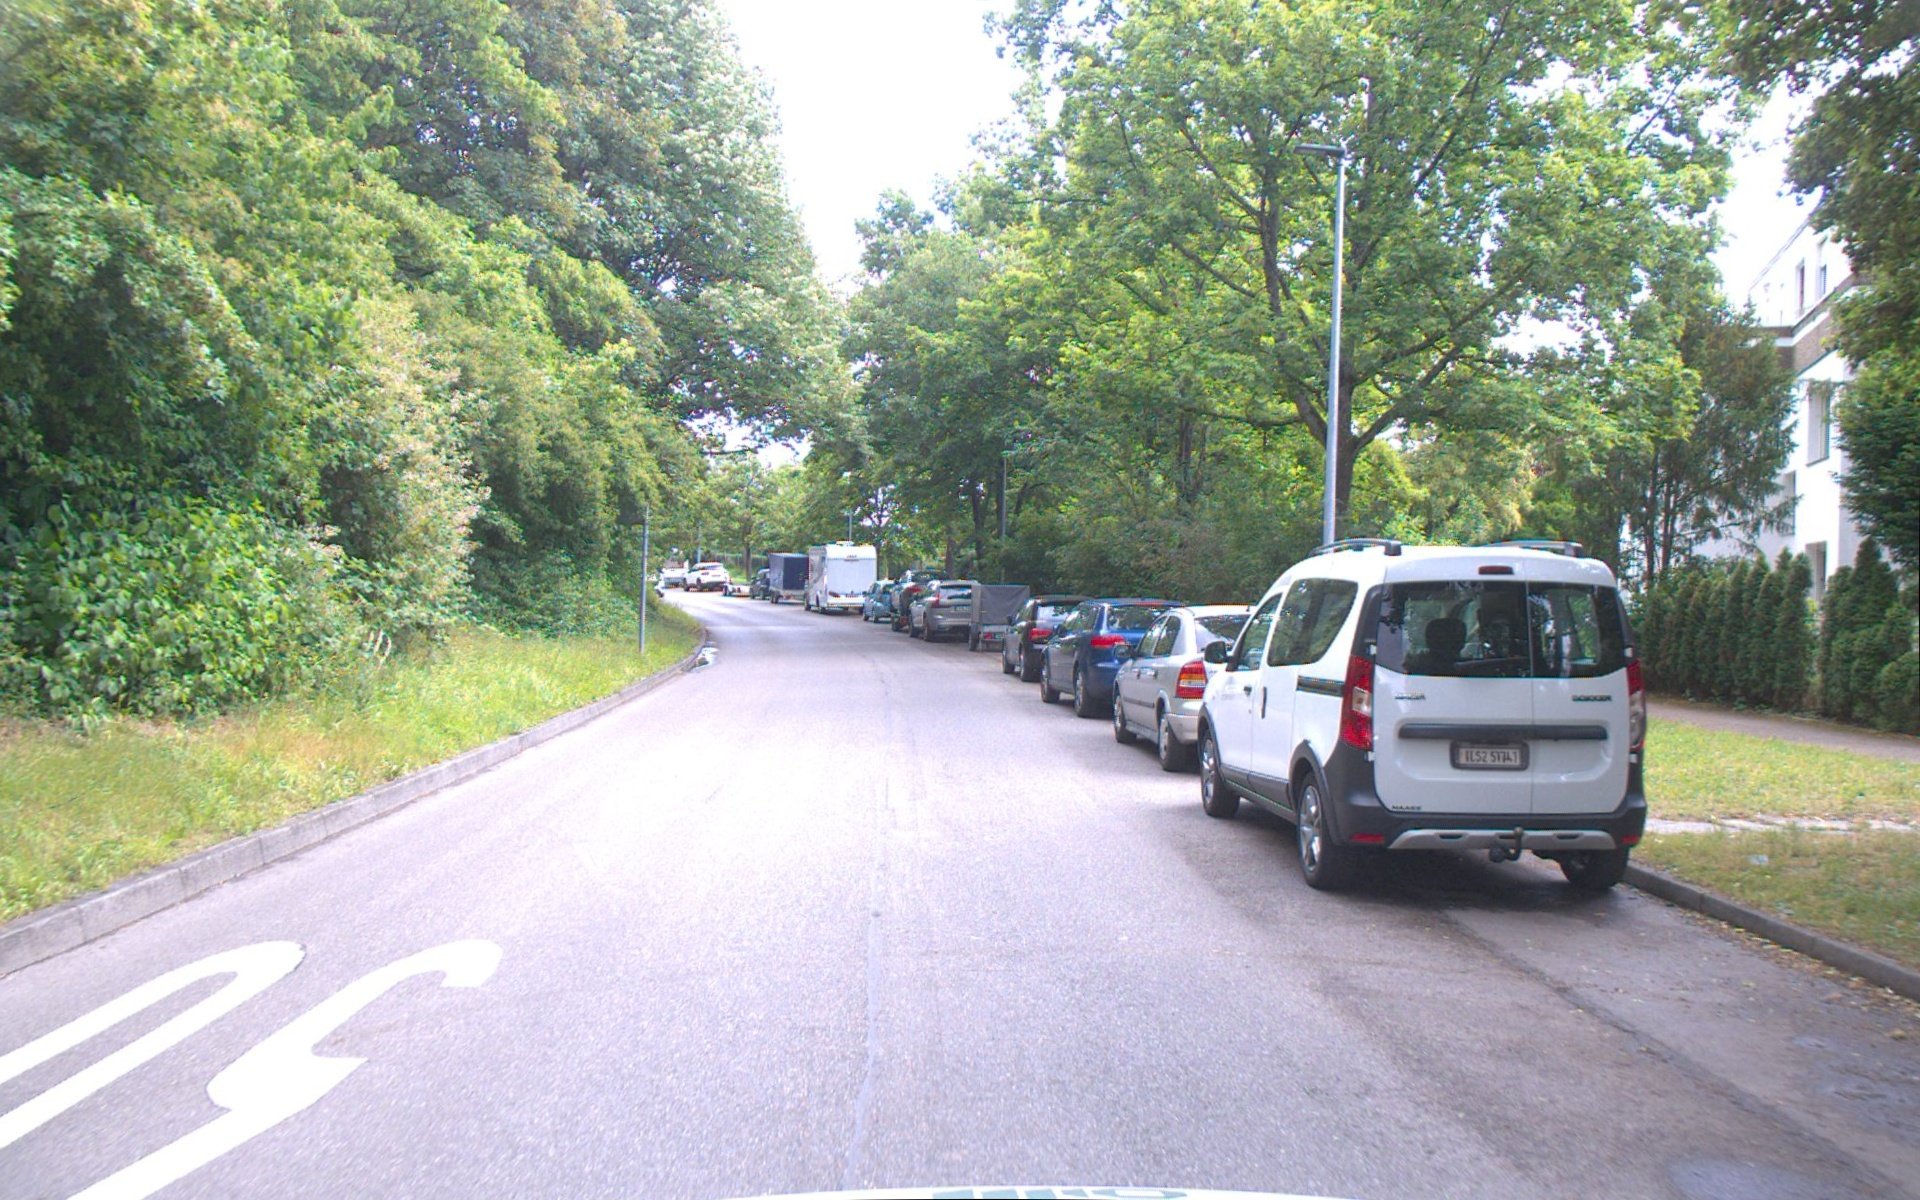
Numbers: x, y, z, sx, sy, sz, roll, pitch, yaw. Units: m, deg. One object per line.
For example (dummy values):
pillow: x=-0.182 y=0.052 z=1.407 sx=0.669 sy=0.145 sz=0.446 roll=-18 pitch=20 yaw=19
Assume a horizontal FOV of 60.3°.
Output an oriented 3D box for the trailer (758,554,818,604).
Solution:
trailer: x=-8.550 y=-1.055 z=82.002 sx=1.965 sy=2.440 sz=3.975 roll=1 pitch=1 yaw=-21

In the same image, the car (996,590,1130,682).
car: x=1.750 y=0.587 z=29.279 sx=1.687 sy=1.478 sz=3.912 roll=1 pitch=0 yaw=-6

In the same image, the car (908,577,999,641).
car: x=-0.236 y=0.263 z=46.192 sx=1.760 sy=1.699 sz=4.490 roll=0 pitch=-1 yaw=-11

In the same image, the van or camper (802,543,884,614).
van or camper: x=-5.158 y=-0.938 z=71.795 sx=2.440 sy=2.926 sz=6.865 roll=1 pitch=1 yaw=-14

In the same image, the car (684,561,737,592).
car: x=-15.091 y=-1.429 z=99.767 sx=2.011 sy=1.835 sz=4.048 roll=0 pitch=2 yaw=-27

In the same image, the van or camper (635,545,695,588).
van or camper: x=-19.174 y=-2.196 z=107.397 sx=2.499 sy=2.744 sz=4.532 roll=-1 pitch=2 yaw=-29

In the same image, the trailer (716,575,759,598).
trailer: x=-12.256 y=-0.766 z=90.939 sx=1.627 sy=1.105 sz=3.979 roll=-2 pitch=2 yaw=-19

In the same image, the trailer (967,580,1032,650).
trailer: x=0.932 y=0.347 z=40.051 sx=1.254 sy=1.612 sz=2.457 roll=1 pitch=1 yaw=-6

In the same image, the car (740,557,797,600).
car: x=-10.126 y=-1.150 z=87.377 sx=1.966 sy=2.060 sz=3.974 roll=-2 pitch=4 yaw=-22

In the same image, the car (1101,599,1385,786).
car: x=2.555 y=0.774 z=15.961 sx=1.777 sy=1.462 sz=4.240 roll=2 pitch=1 yaw=-3

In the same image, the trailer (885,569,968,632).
trailer: x=-1.116 y=-0.030 z=52.476 sx=1.942 sy=1.843 sz=5.138 roll=0 pitch=2 yaw=-9

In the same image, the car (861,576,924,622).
car: x=-2.562 y=-0.067 z=61.724 sx=1.768 sy=1.589 sz=3.825 roll=0 pitch=2 yaw=-12

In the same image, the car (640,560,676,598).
car: x=-16.800 y=-1.162 z=92.111 sx=1.912 sy=2.019 sz=4.492 roll=1 pitch=1 yaw=-10

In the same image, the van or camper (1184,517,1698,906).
van or camper: x=2.657 y=0.583 z=10.252 sx=1.766 sy=1.870 sz=4.318 roll=1 pitch=-1 yaw=-2

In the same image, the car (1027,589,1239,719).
car: x=2.150 y=0.635 z=21.826 sx=1.812 sy=1.500 sz=4.472 roll=1 pitch=0 yaw=-7
